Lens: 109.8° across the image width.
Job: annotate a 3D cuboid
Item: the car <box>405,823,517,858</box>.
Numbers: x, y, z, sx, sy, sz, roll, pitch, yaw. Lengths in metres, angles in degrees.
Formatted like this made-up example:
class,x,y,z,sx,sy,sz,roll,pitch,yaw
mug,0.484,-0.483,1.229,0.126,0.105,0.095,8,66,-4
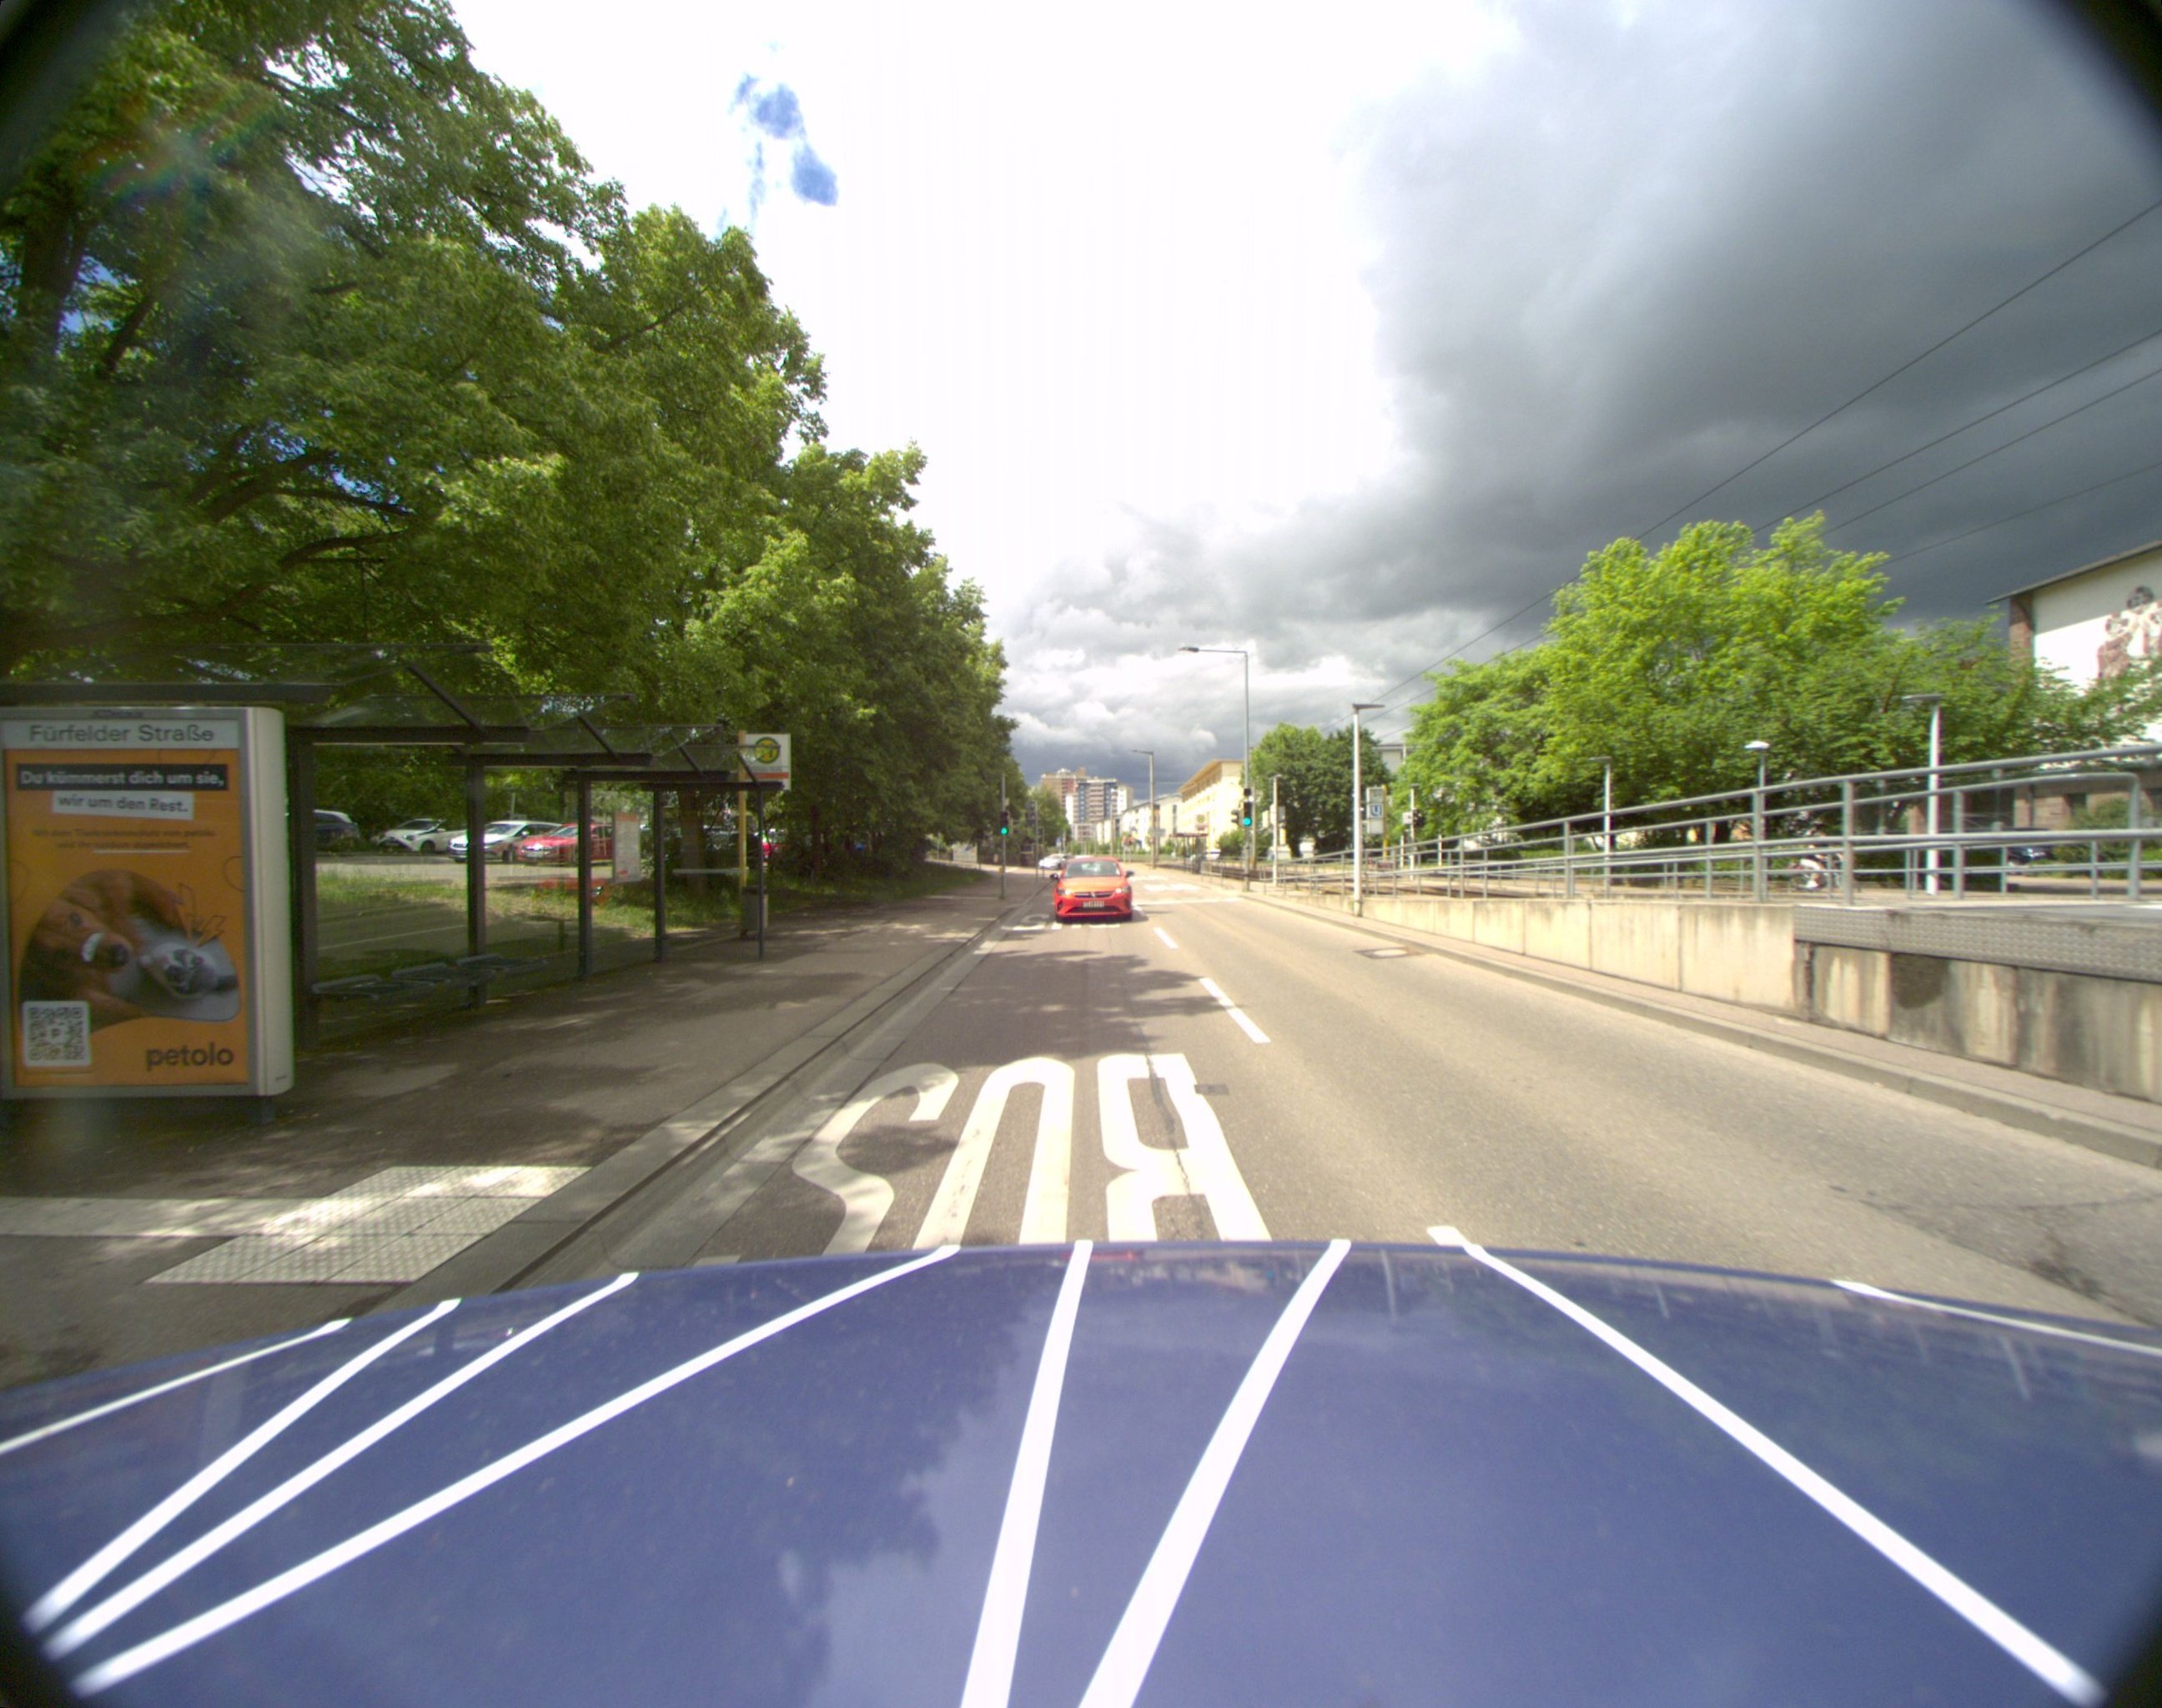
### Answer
class,x,y,z,sx,sy,sz,roll,pitch,yaw
car,-25.788,-0.547,31.751,1.635,1.320,3.662,2,1,0

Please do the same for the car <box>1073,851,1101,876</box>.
class,x,y,z,sx,sy,sz,roll,pitch,yaw
car,0.363,0.548,47.709,1.499,1.477,3.519,0,1,-4

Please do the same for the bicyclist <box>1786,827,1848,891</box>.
class,x,y,z,sx,sy,sz,roll,pitch,yaw
bicyclist,16.971,0.103,17.529,0.634,1.421,0.790,-2,1,0

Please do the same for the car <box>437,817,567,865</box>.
class,x,y,z,sx,sy,sz,roll,pitch,yaw
car,-19.820,-0.443,26.224,1.635,1.469,3.662,2,1,0

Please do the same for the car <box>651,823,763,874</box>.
class,x,y,z,sx,sy,sz,roll,pitch,yaw
car,-12.368,-0.192,25.458,1.631,1.506,4.138,3,1,0

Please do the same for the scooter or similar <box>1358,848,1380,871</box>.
class,x,y,z,sx,sy,sz,roll,pitch,yaw
scooter or similar,15.641,0.292,41.294,0.651,1.230,1.401,-2,0,1

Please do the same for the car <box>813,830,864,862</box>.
class,x,y,z,sx,sy,sz,roll,pitch,yaw
car,-13.653,-0.495,42.963,1.683,1.626,3.904,3,2,-2

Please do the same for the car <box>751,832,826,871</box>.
class,x,y,z,sx,sy,sz,roll,pitch,yaw
car,-12.189,-0.117,31.866,1.665,1.492,3.662,2,1,0

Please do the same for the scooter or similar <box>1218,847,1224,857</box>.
class,x,y,z,sx,sy,sz,roll,pitch,yaw
scooter or similar,16.055,-0.232,87.122,0.606,1.108,0.821,-1,1,-1

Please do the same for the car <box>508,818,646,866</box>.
class,x,y,z,sx,sy,sz,roll,pitch,yaw
car,-17.449,-0.403,26.598,1.756,1.469,4.543,2,1,0

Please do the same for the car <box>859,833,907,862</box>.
class,x,y,z,sx,sy,sz,roll,pitch,yaw
car,-11.142,-0.411,43.028,1.828,1.503,3.812,0,2,-2

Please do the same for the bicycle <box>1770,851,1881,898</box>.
class,x,y,z,sx,sy,sz,roll,pitch,yaw
bicycle,16.972,0.434,17.391,0.639,0.988,1.928,-2,1,0

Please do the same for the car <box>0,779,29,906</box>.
class,x,y,z,sx,sy,sz,roll,pitch,yaw
car,-15.249,-0.116,8.265,1.692,1.685,4.260,3,2,-1

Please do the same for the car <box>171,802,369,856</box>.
class,x,y,z,sx,sy,sz,roll,pitch,yaw
car,-26.121,-0.756,24.728,2.064,1.615,4.099,0,0,-1

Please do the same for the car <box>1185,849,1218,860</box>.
class,x,y,z,sx,sy,sz,roll,pitch,yaw
car,16.104,0.045,101.662,4.129,1.286,1.634,3,1,18

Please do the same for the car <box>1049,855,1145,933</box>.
class,x,y,z,sx,sy,sz,roll,pitch,yaw
car,0.236,0.783,17.088,1.784,1.434,4.129,-2,1,-3
